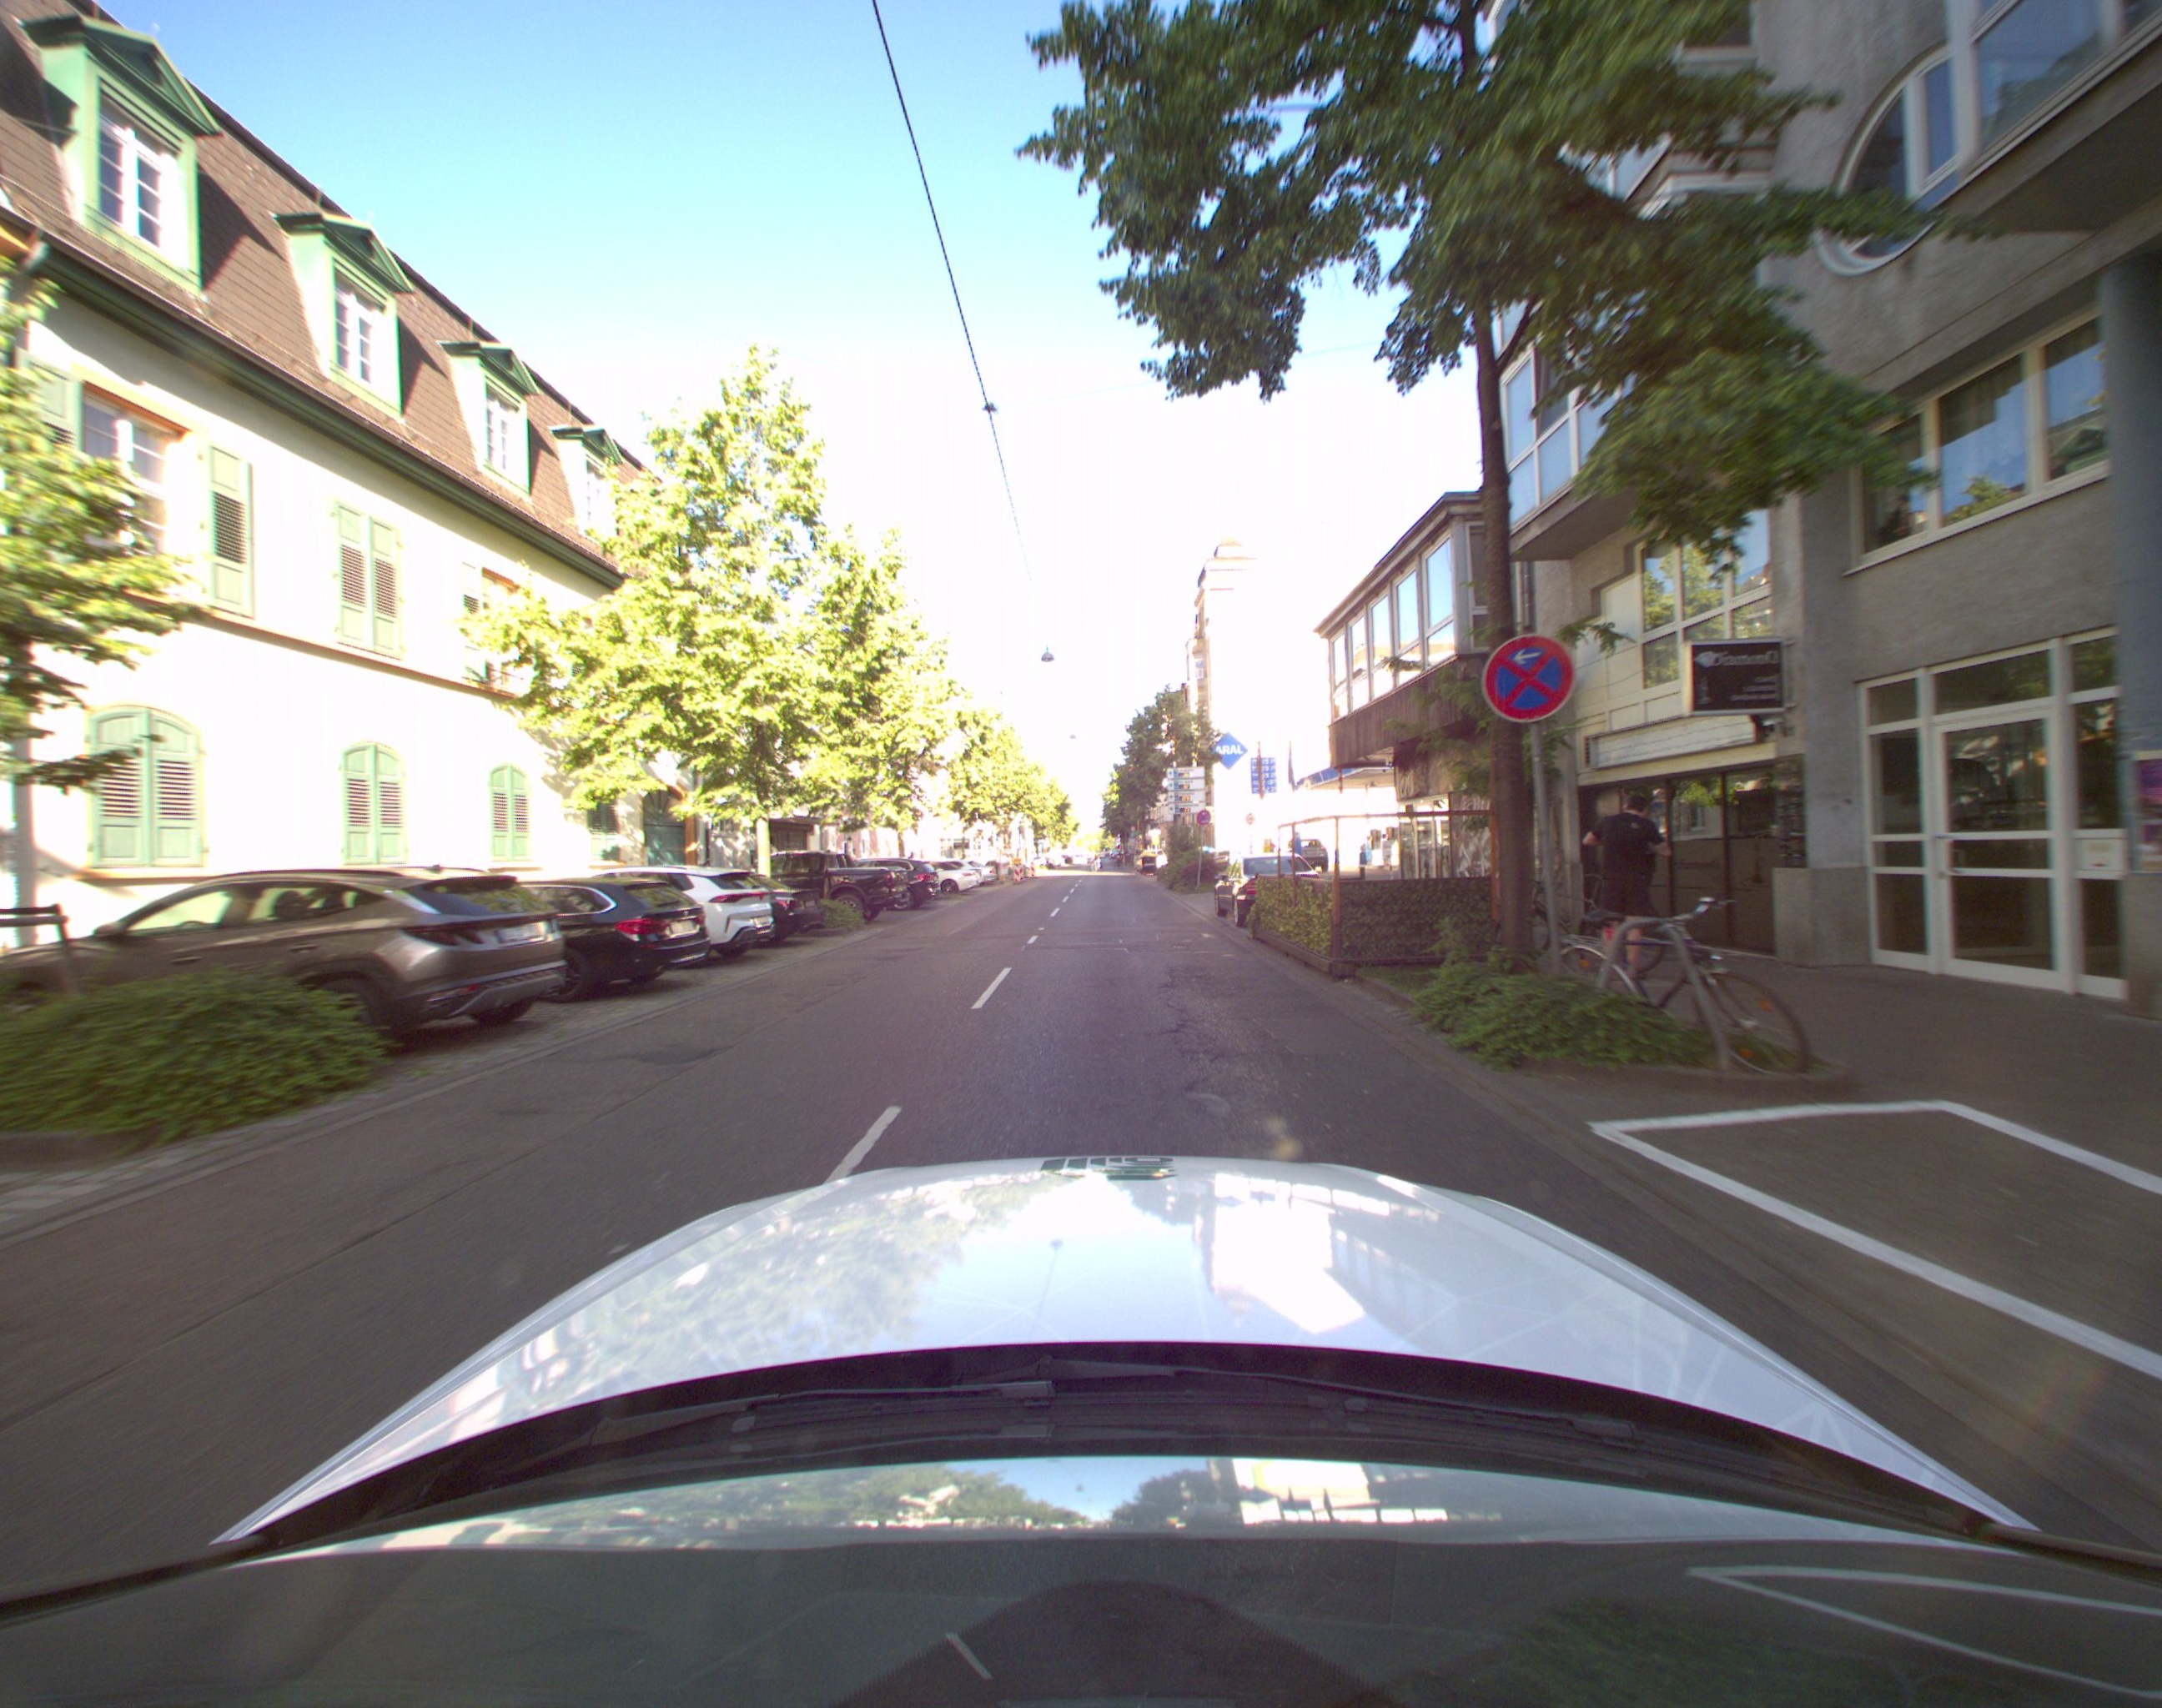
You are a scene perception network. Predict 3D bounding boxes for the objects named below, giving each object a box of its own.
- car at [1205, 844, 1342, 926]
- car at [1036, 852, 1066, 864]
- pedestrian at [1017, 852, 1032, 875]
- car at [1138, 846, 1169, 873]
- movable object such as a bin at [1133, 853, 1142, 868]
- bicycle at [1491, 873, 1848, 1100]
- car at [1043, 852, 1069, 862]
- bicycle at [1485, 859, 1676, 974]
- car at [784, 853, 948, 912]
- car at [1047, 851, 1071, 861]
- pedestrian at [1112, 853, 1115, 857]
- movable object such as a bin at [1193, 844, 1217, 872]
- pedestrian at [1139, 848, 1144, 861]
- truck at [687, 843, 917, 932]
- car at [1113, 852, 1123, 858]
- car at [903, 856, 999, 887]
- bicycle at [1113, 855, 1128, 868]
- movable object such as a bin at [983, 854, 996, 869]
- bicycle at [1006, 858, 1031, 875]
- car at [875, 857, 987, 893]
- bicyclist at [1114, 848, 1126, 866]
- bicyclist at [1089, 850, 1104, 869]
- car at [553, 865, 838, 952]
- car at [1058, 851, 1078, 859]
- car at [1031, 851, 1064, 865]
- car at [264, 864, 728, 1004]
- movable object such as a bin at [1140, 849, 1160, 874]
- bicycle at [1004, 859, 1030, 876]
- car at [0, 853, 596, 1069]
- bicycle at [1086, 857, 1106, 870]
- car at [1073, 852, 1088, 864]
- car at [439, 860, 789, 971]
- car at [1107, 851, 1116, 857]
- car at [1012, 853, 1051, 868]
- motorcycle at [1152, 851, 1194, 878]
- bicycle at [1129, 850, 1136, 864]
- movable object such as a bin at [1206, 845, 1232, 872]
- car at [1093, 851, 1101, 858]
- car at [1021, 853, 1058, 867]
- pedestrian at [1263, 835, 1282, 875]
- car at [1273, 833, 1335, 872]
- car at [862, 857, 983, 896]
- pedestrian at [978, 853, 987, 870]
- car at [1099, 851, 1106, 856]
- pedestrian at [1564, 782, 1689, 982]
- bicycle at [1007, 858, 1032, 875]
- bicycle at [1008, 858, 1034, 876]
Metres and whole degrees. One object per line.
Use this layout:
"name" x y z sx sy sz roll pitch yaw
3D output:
"car" 3.962 0.580 17.597 1.894 1.412 4.648 -4 0 1
"car" -4.109 0.535 113.324 3.974 1.500 2.000 -2 0 0
"pedestrian" -4.165 0.704 60.311 0.797 1.707 0.759 -1 0 -32
"car" 5.111 0.383 57.713 1.815 1.679 4.603 -5 0 2
"movable object such as a bin" 4.966 0.579 71.359 0.703 1.222 0.680 -2 0 -1
"bicycle" 3.787 0.754 5.532 0.607 1.120 2.050 -9 1 -7
"car" -3.907 0.478 127.278 3.974 1.500 2.000 -2 0 0
"bicycle" 5.573 0.653 9.164 0.686 1.148 1.665 -2 0 -41
"car" -6.781 0.878 26.011 4.661 1.693 1.809 -2 0 2
"car" -3.718 0.314 138.050 3.974 1.500 2.000 -2 0 0
"pedestrian" 7.393 0.239 185.868 0.544 1.026 0.546 -3 0 -1
"movable object such as a bin" 7.699 0.230 50.677 1.202 1.627 1.498 -3 0 0
"pedestrian" 7.423 0.040 100.519 0.545 1.649 0.665 -2 0 2
"truck" -6.958 0.806 20.734 5.067 1.938 2.000 -3 0 0
"car" 8.645 0.245 190.602 1.986 1.508 4.000 -2 -1 1
"car" -6.642 0.889 42.004 4.668 1.412 1.807 -2 0 -2
"bicycle" 3.790 0.698 78.835 0.712 1.220 2.047 -2 0 23
"movable object such as a bin" -9.349 0.779 83.445 1.137 1.485 1.235 -2 0 -1
"bicycle" -4.709 0.943 61.298 1.852 1.252 0.599 -1 0 -7
"car" -6.701 0.919 36.689 4.668 1.465 1.807 -2 0 -2
"bicyclist" 3.779 0.270 78.838 0.712 1.693 1.163 -2 0 23
"bicyclist" 1.318 0.469 69.187 0.759 1.560 1.047 -2 0 31
"car" -7.387 1.025 15.893 4.661 1.463 1.809 -2 0 2
"car" -2.771 0.248 172.189 3.974 1.500 2.000 -2 0 0
"car" -4.301 0.507 104.507 3.967 1.694 2.003 -2 0 6
"car" -7.294 0.959 10.476 4.661 1.519 1.809 -2 0 2
"movable object such as a bin" 4.537 0.458 53.514 1.135 1.562 1.463 -3 0 9
"bicycle" -4.638 0.991 58.968 1.852 1.170 0.599 -1 0 -7
"car" -7.472 0.911 7.712 4.661 1.712 1.809 -2 0 2
"bicycle" 1.311 0.804 69.189 0.759 1.059 1.968 -2 0 31
"car" -0.053 0.544 111.163 1.796 1.435 4.409 -5 0 0
"car" -7.464 0.953 13.310 4.661 1.572 1.809 -2 0 2
"car" 7.875 0.045 210.144 1.986 1.508 4.000 -2 -1 1
"car" -5.175 0.717 85.812 3.974 1.390 2.000 -2 0 0
"motorcycle" 4.853 0.552 43.058 1.978 1.330 0.908 -2 0 -11
"bicycle" 5.655 0.348 89.565 0.559 1.441 1.629 -8 0 1
"movable object such as a bin" 8.367 0.254 49.407 1.267 1.530 1.176 -3 0 0
"car" 3.764 0.076 190.731 1.816 1.391 4.301 -5 0 0
"car" -4.691 0.623 91.595 3.974 1.390 2.000 -2 0 0
"pedestrian" 9.033 0.047 38.369 0.704 1.850 0.689 -3 0 4
"car" 10.446 -0.060 38.507 1.893 1.648 4.297 -3 0 3
"car" -6.553 0.930 34.063 4.668 1.465 1.807 -2 0 -2
"pedestrian" -9.595 0.744 79.418 0.773 1.643 0.686 -2 0 -16
"car" 5.875 -0.186 221.241 1.786 1.411 4.001 -2 0 1
"pedestrian" 5.592 0.275 8.411 0.916 1.935 0.765 -2 0 26
"bicycle" -4.575 0.929 60.655 1.852 1.252 0.599 -1 0 -7
"bicycle" -4.391 0.951 59.638 1.852 1.252 0.599 -1 0 -7
